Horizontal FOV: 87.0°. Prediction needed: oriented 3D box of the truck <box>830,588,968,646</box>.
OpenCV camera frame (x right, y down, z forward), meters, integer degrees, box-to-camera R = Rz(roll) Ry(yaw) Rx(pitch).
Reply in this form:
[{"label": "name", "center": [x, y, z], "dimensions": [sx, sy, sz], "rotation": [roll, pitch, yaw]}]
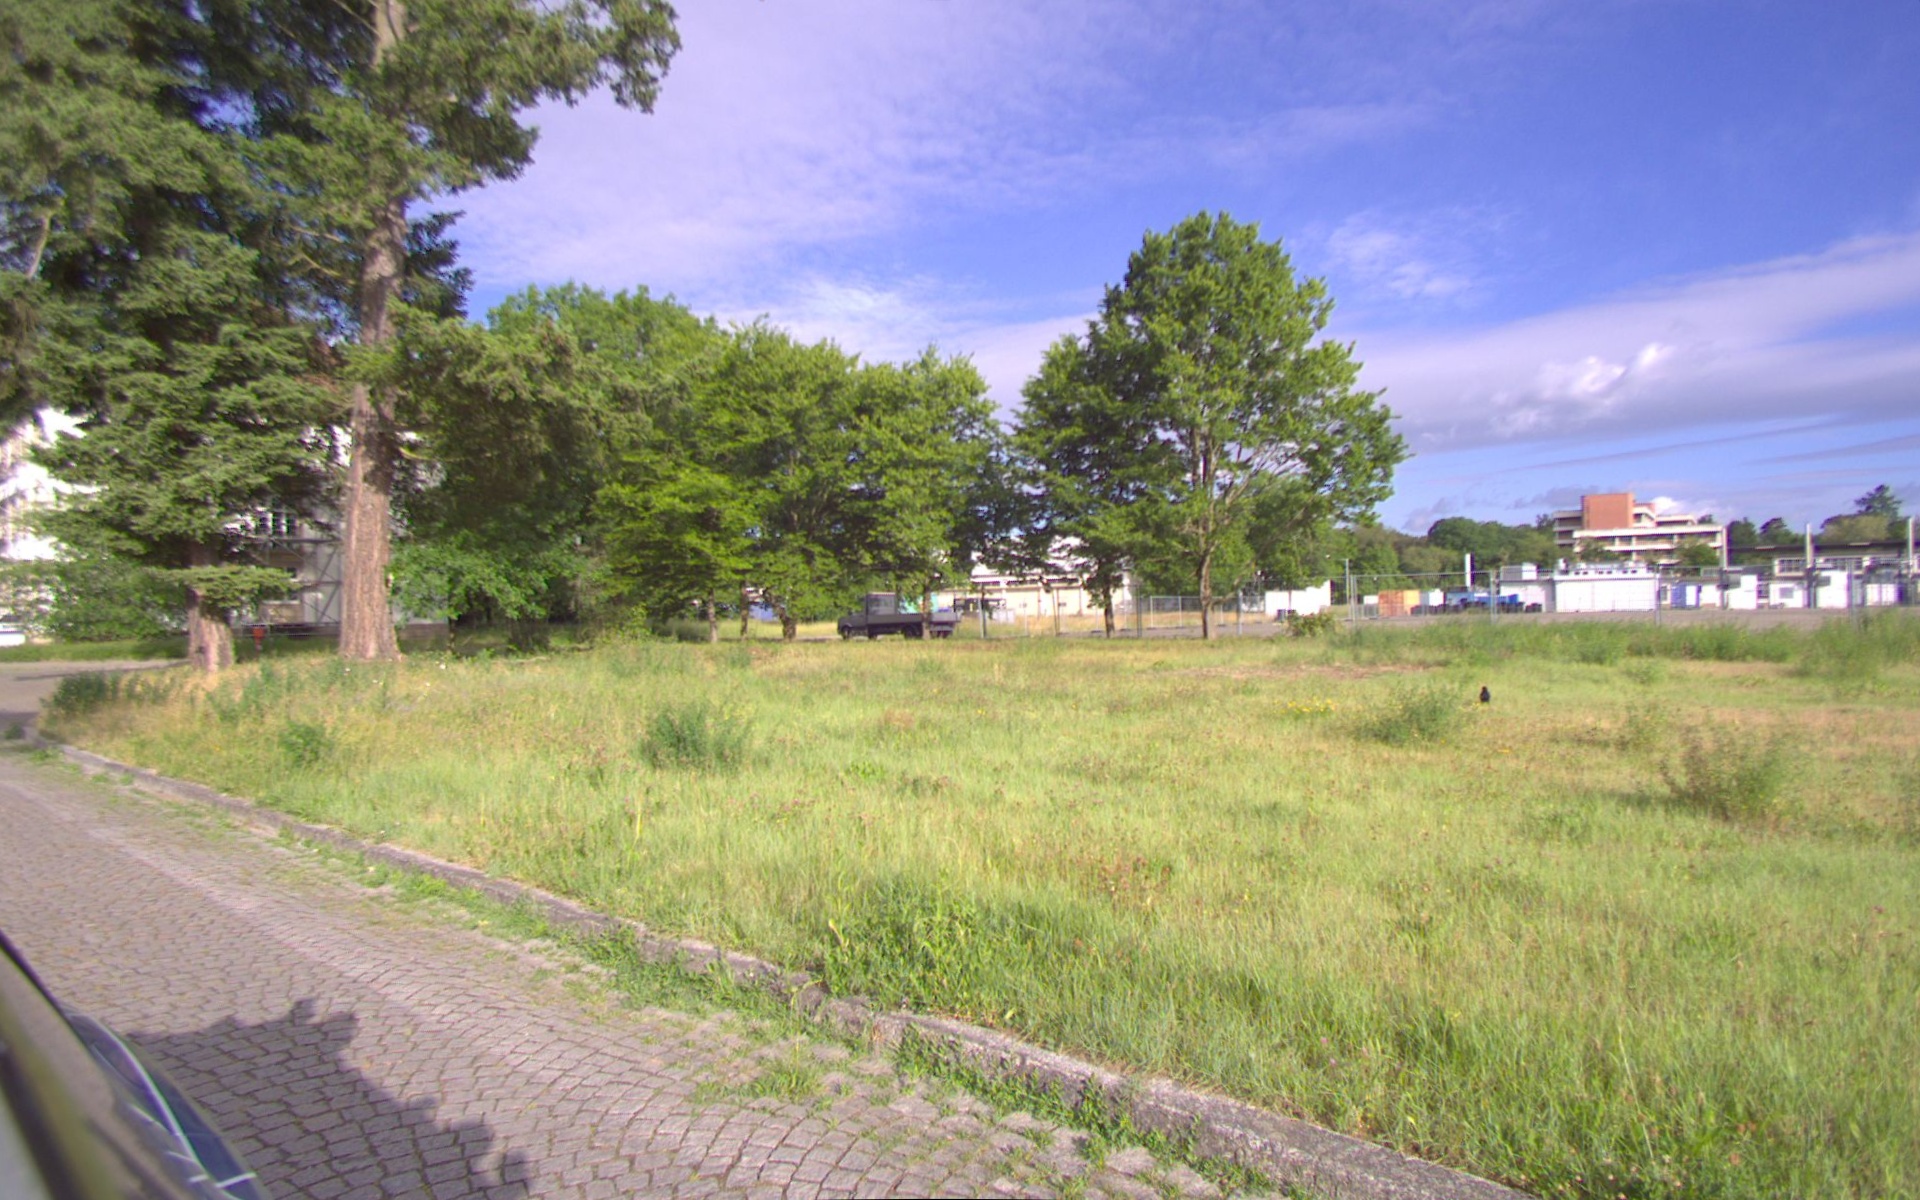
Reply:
[{"label": "truck", "center": [-3.058, 0.847, 48.901], "dimensions": [6.955, 2.606, 2.386], "rotation": [-2, -1, 41]}]
